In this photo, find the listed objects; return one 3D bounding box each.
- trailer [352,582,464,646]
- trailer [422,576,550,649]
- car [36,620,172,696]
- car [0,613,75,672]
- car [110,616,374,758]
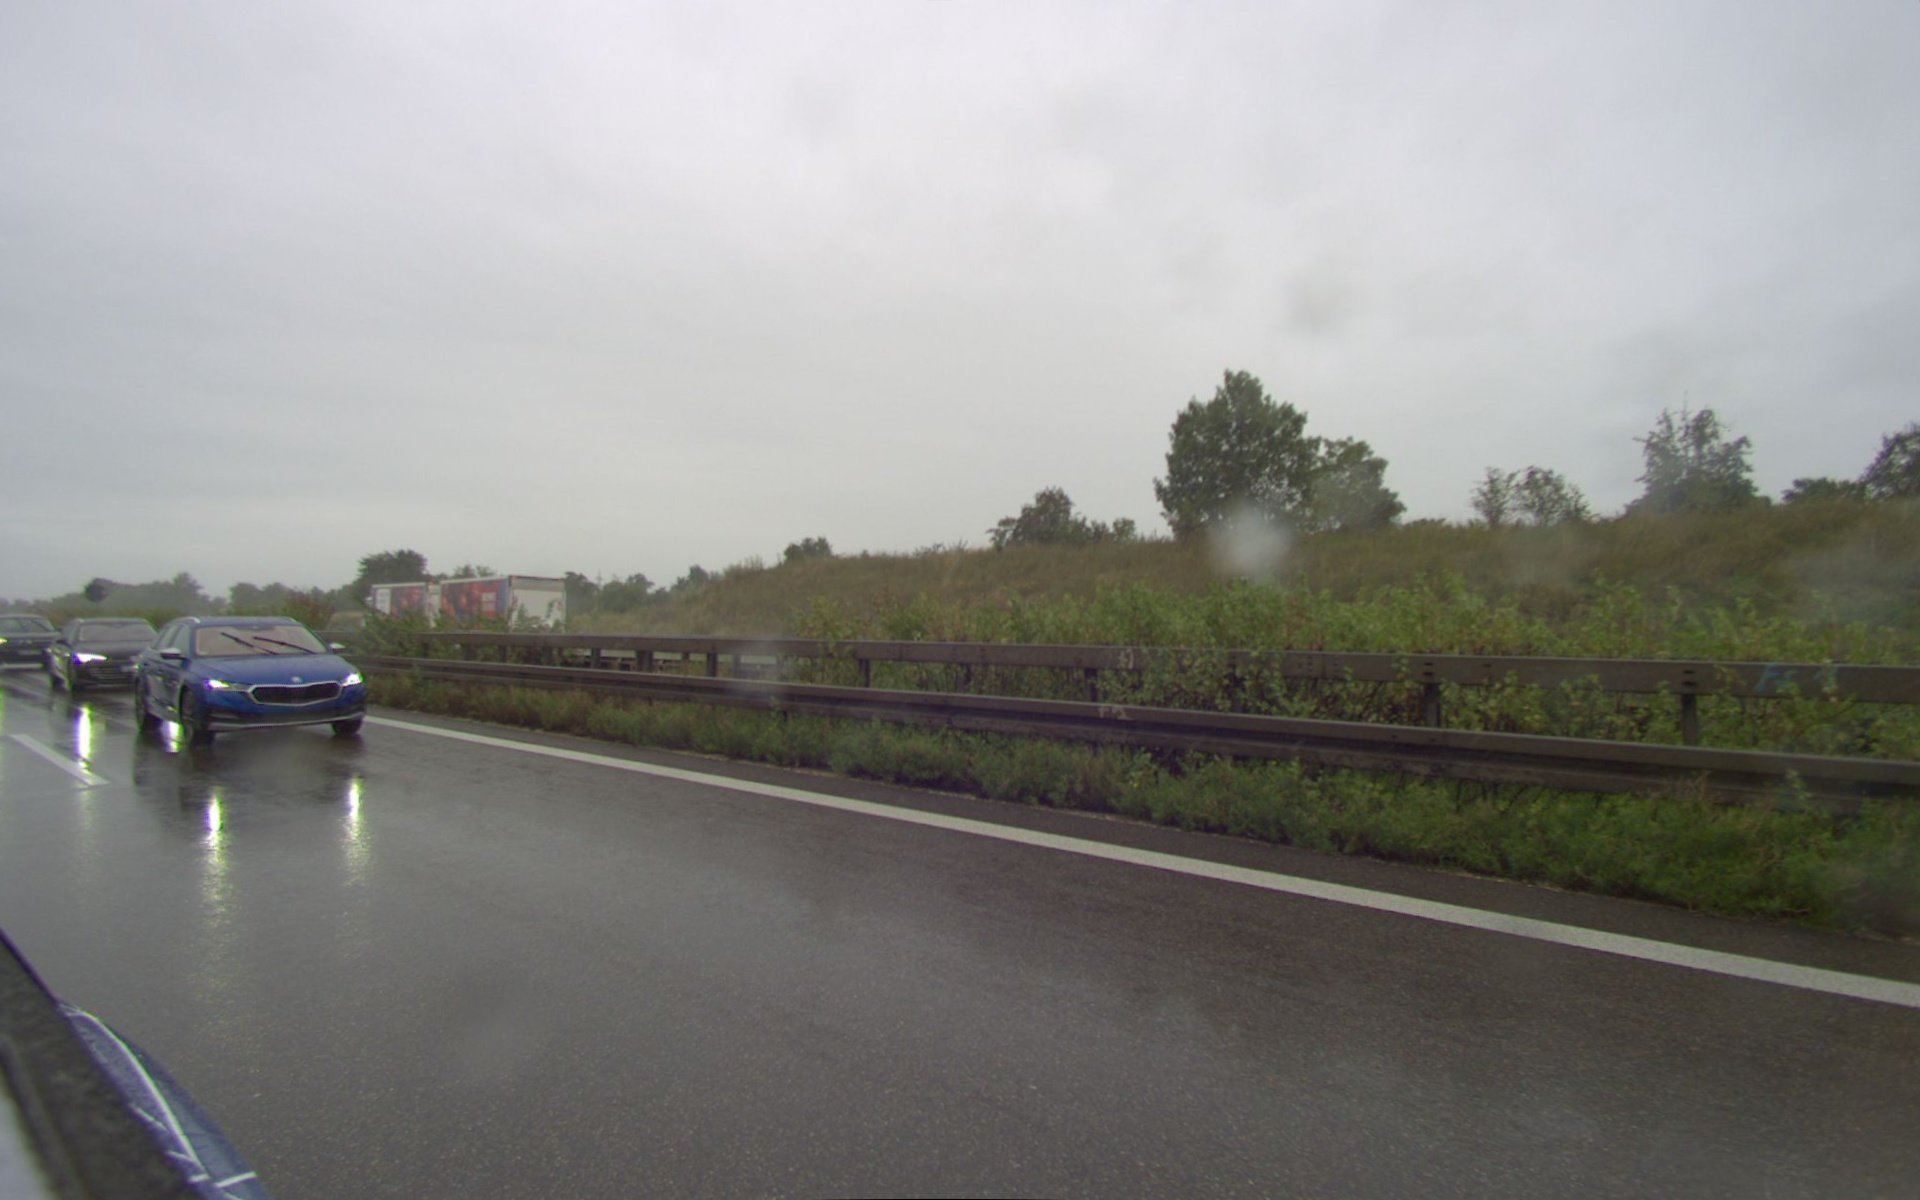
[{"bbox_3d":[-28.903,0.748,52.707,9.550,3.105,1.973,-1,-1,41],"label":"trailer"},{"bbox_3d":[-21.931,0.595,46.561,8.868,3.105,1.973,-1,-1,41],"label":"trailer"},{"bbox_3d":[-18.290,1.170,21.554,4.368,1.447,1.592,-1,-1,41],"label":"car"},{"bbox_3d":[-28.341,1.255,30.574,4.267,1.644,1.864,-1,-1,41],"label":"car"},{"bbox_3d":[-9.259,0.970,12.897,4.510,1.487,1.767,-1,-1,41],"label":"car"}]
